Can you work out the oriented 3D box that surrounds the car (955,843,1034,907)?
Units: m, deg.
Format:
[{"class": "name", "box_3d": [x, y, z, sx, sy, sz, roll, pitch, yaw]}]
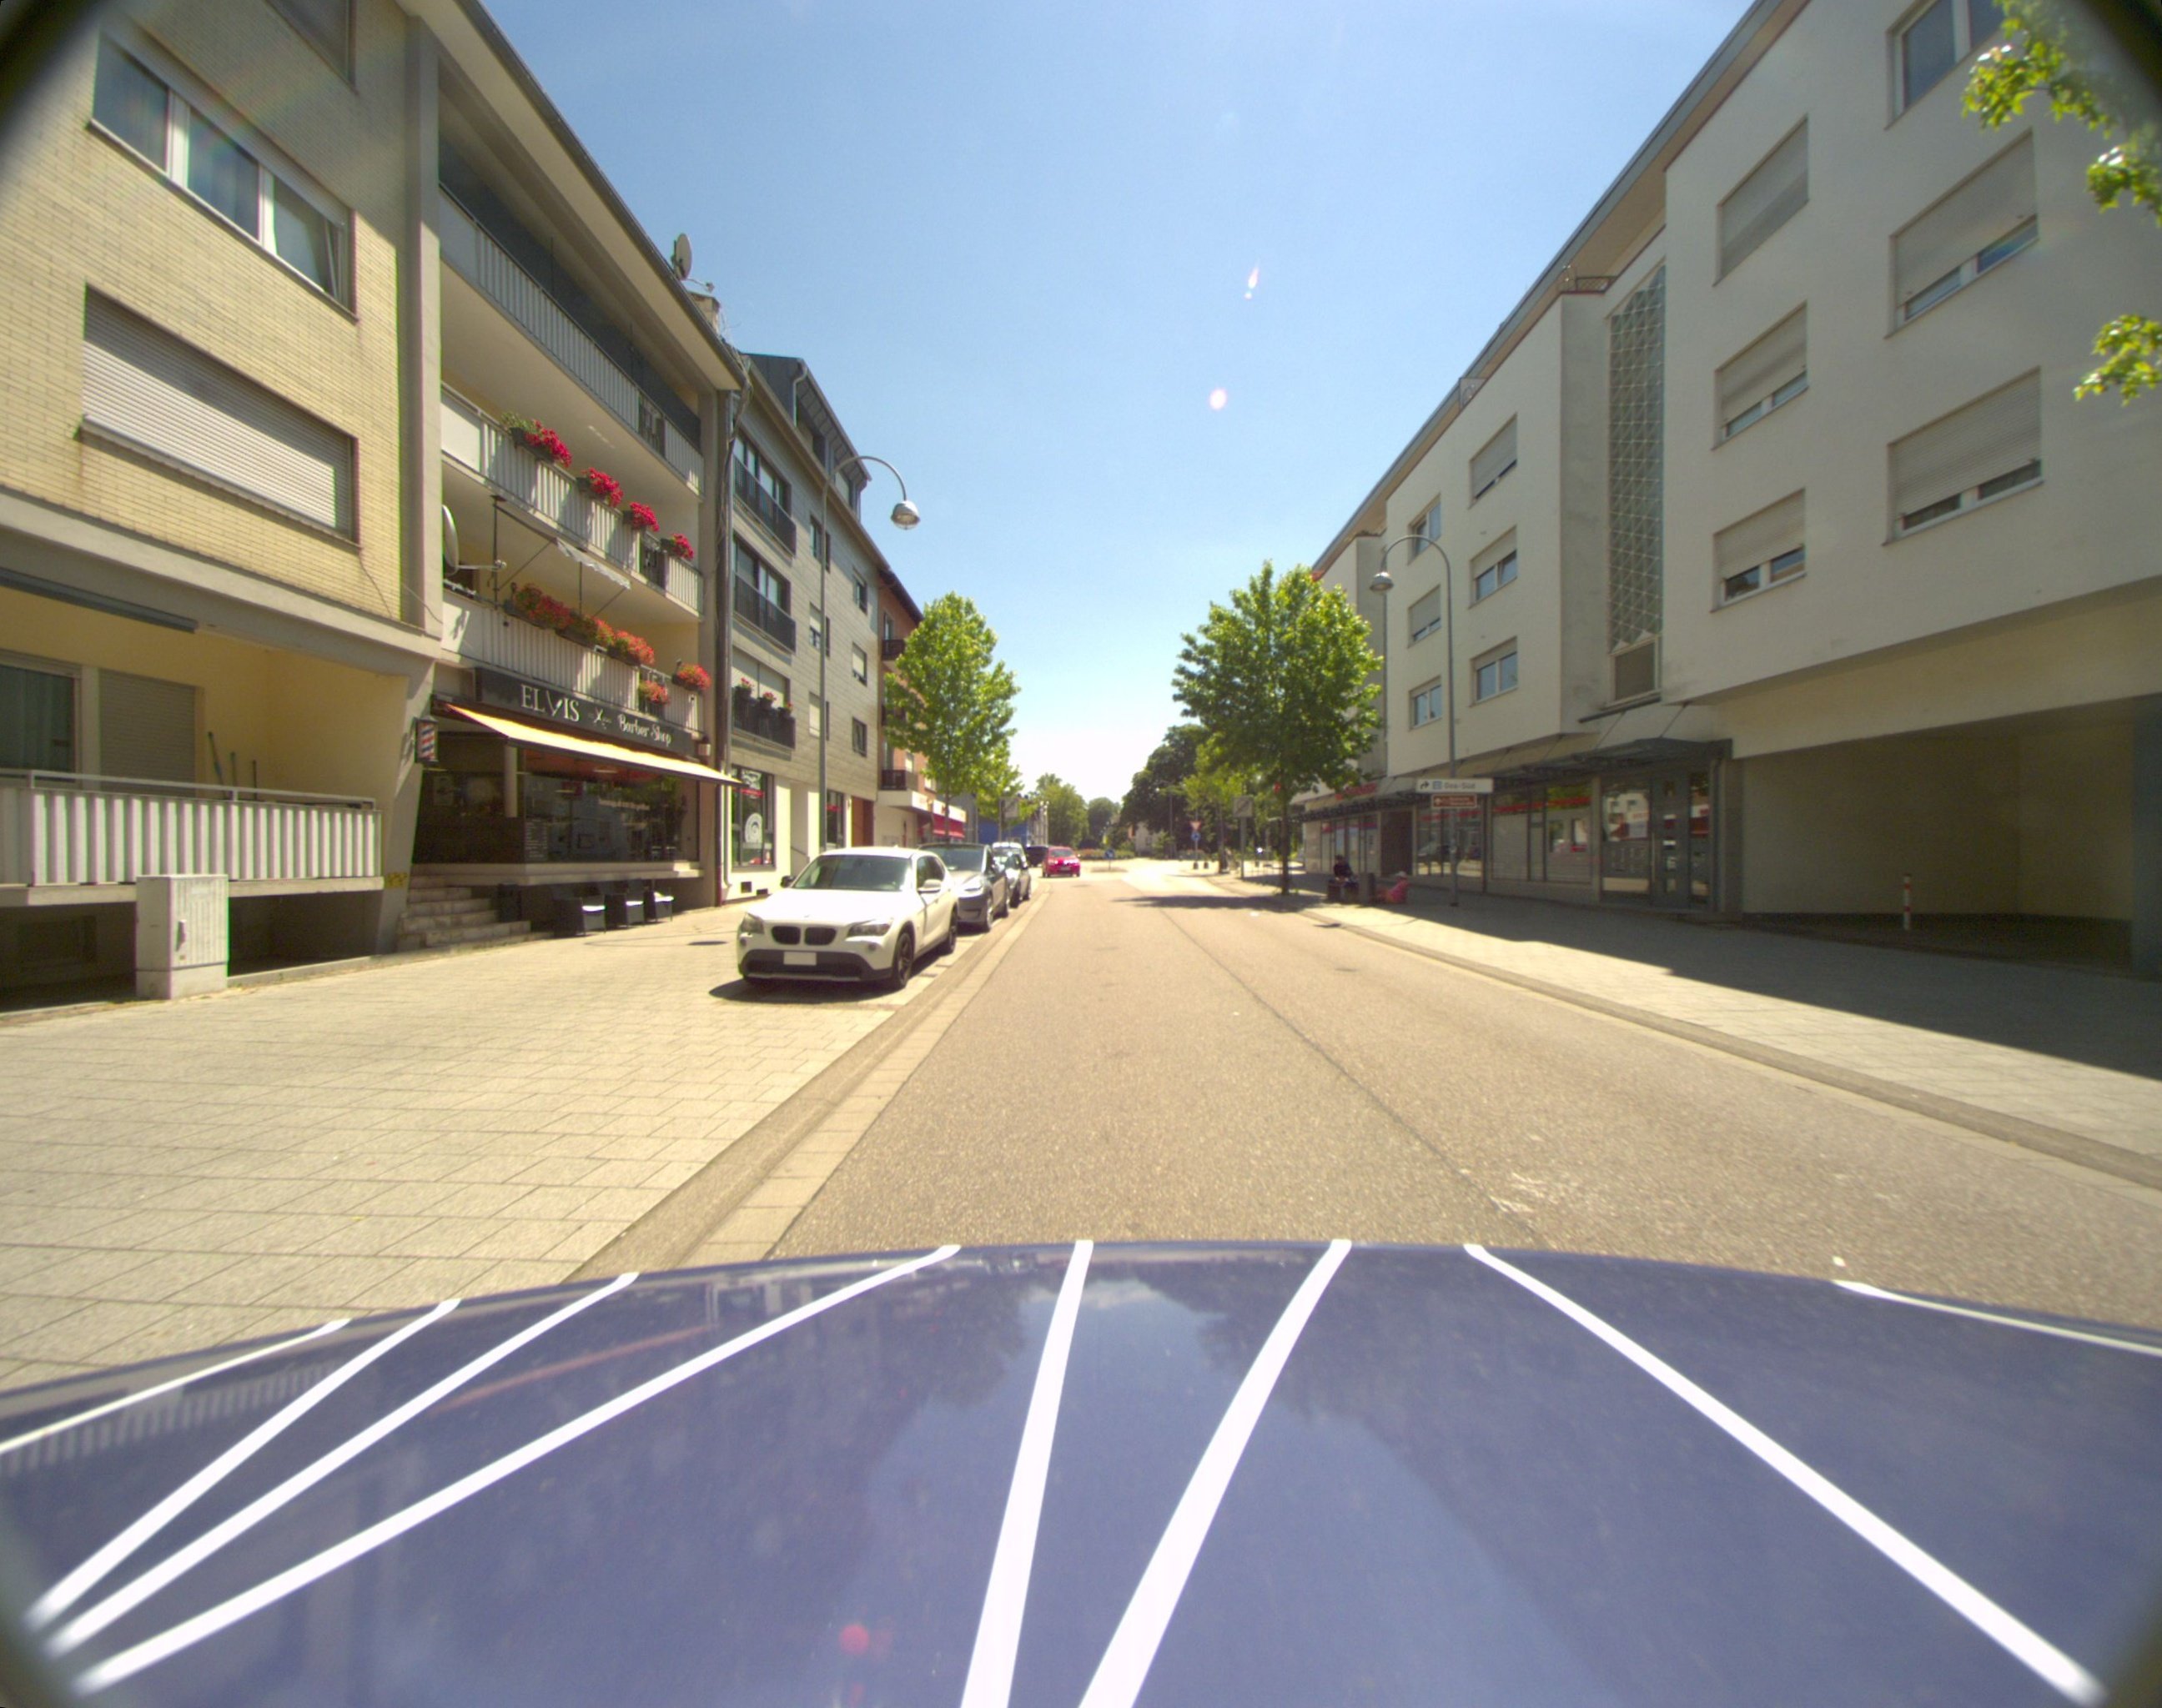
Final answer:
[{"class": "car", "box_3d": [-2.210, 0.483, 20.271, 1.626, 1.550, 3.840, 0, 1, 1]}]

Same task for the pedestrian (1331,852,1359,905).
[{"class": "pedestrian", "box_3d": [7.067, 0.639, 20.349, 0.568, 1.364, 0.667, 1, 2, 10]}]

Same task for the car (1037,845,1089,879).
[{"class": "car", "box_3d": [-0.995, 0.350, 38.918, 1.835, 1.524, 3.994, -2, 2, -13]}]

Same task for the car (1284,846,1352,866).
[{"class": "car", "box_3d": [19.930, 0.162, 63.988, 4.999, 1.584, 1.997, 0, 4, -10]}]

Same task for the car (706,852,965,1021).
[{"class": "car", "box_3d": [-2.725, 0.795, 9.518, 1.726, 1.574, 4.225, 1, 1, 2]}]

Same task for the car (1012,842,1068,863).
[{"class": "car", "box_3d": [-3.196, -0.124, 59.681, 3.993, 1.554, 1.806, 1, -2, 13]}]

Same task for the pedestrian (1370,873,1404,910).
[{"class": "pedestrian", "box_3d": [7.836, 0.952, 19.479, 0.666, 0.854, 0.733, 1, 5, 10]}]

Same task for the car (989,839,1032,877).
[{"class": "car", "box_3d": [-3.452, 0.176, 36.811, 1.753, 1.714, 3.906, 1, 1, -9]}]

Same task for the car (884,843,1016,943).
[{"class": "car", "box_3d": [-2.448, 0.643, 15.371, 1.768, 1.696, 4.705, 1, 1, 1]}]
